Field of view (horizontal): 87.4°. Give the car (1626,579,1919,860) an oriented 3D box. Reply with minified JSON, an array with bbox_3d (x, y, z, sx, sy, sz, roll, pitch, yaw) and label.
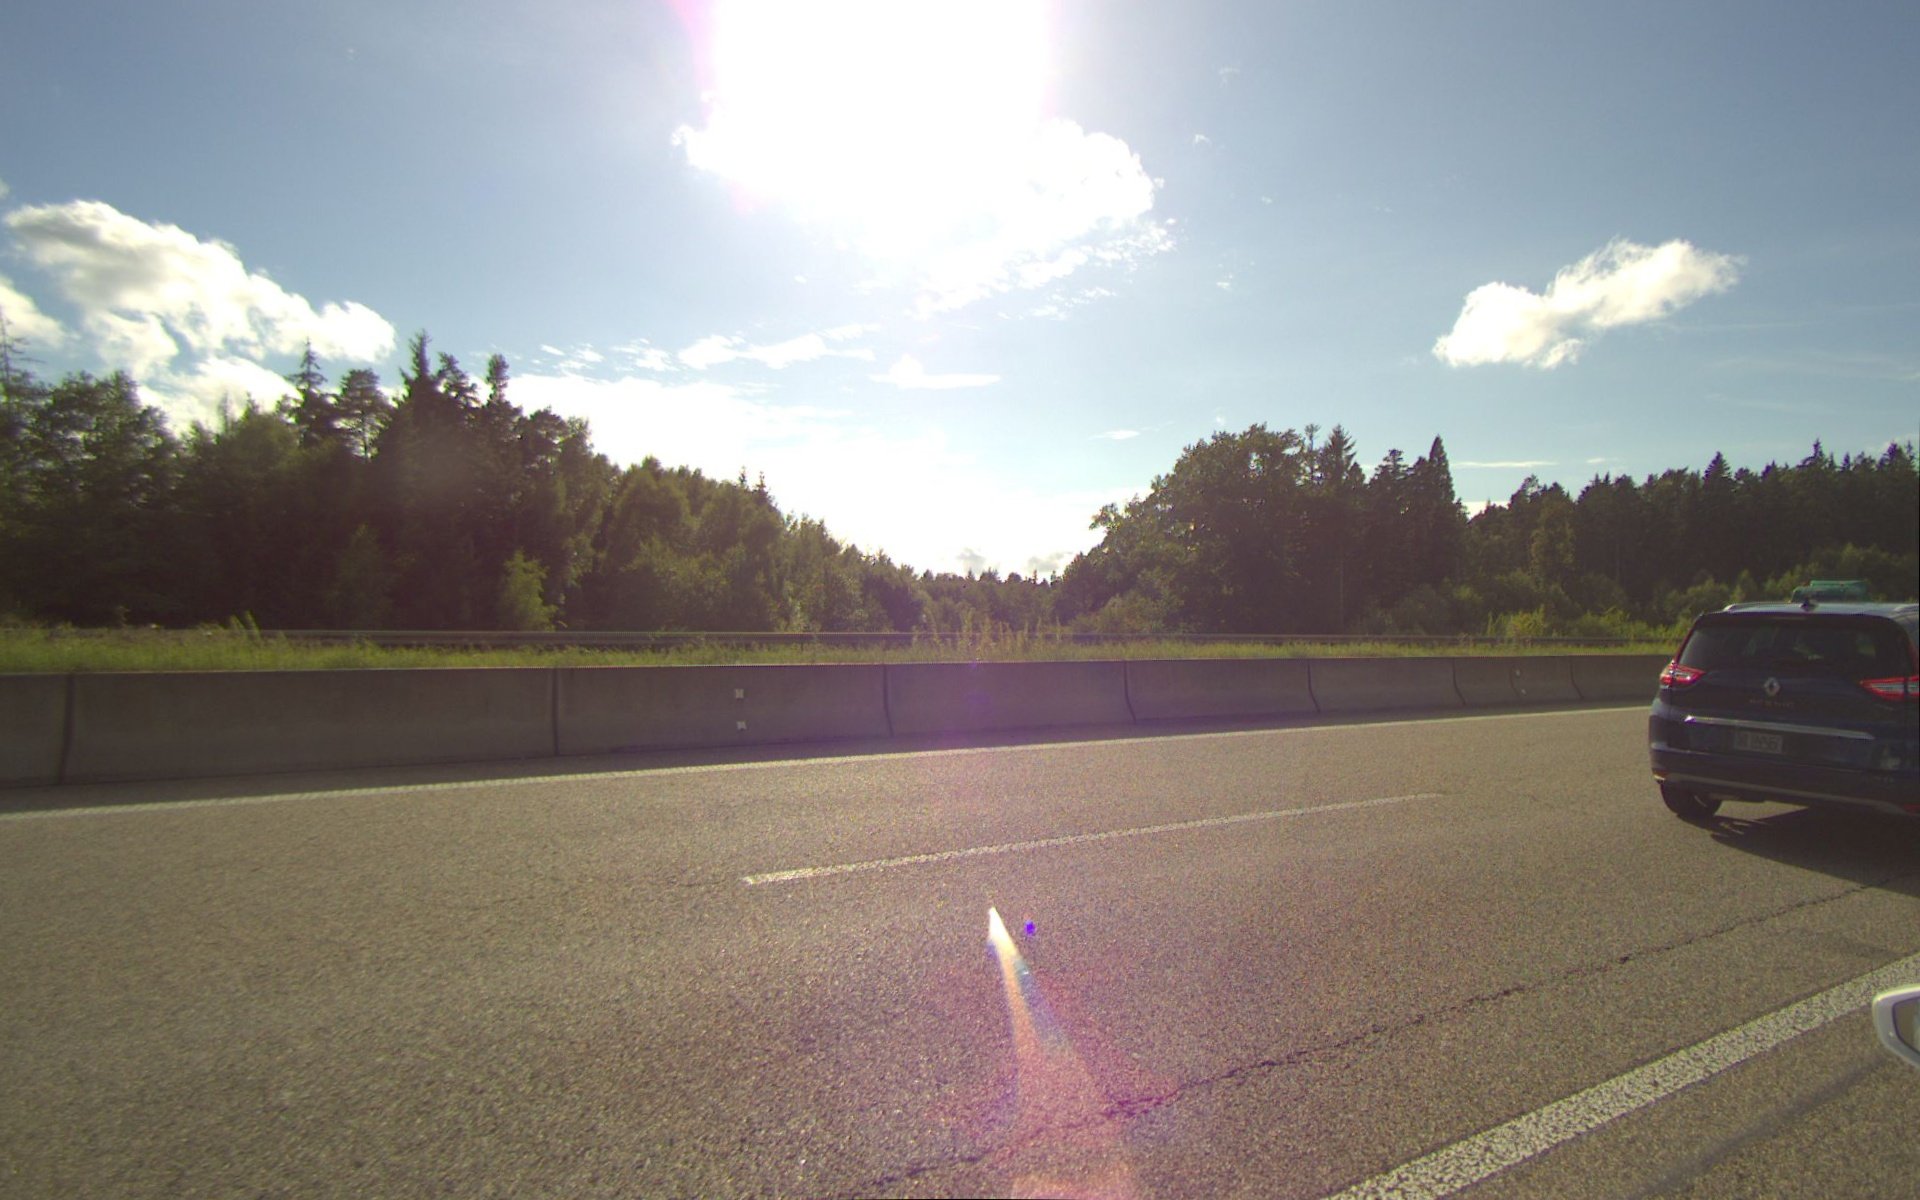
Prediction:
[{"bbox_3d":[7.493,0.776,7.934,4.476,1.729,1.984,1,0,-31],"label":"car"}]

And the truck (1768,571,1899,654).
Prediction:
[{"bbox_3d":[45.320,0.683,52.120,5.792,4.062,3.360,1,0,-29],"label":"truck"}]

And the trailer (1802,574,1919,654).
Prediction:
[{"bbox_3d":[52.040,0.854,55.935,13.476,4.062,3.360,1,0,-30],"label":"trailer"}]
